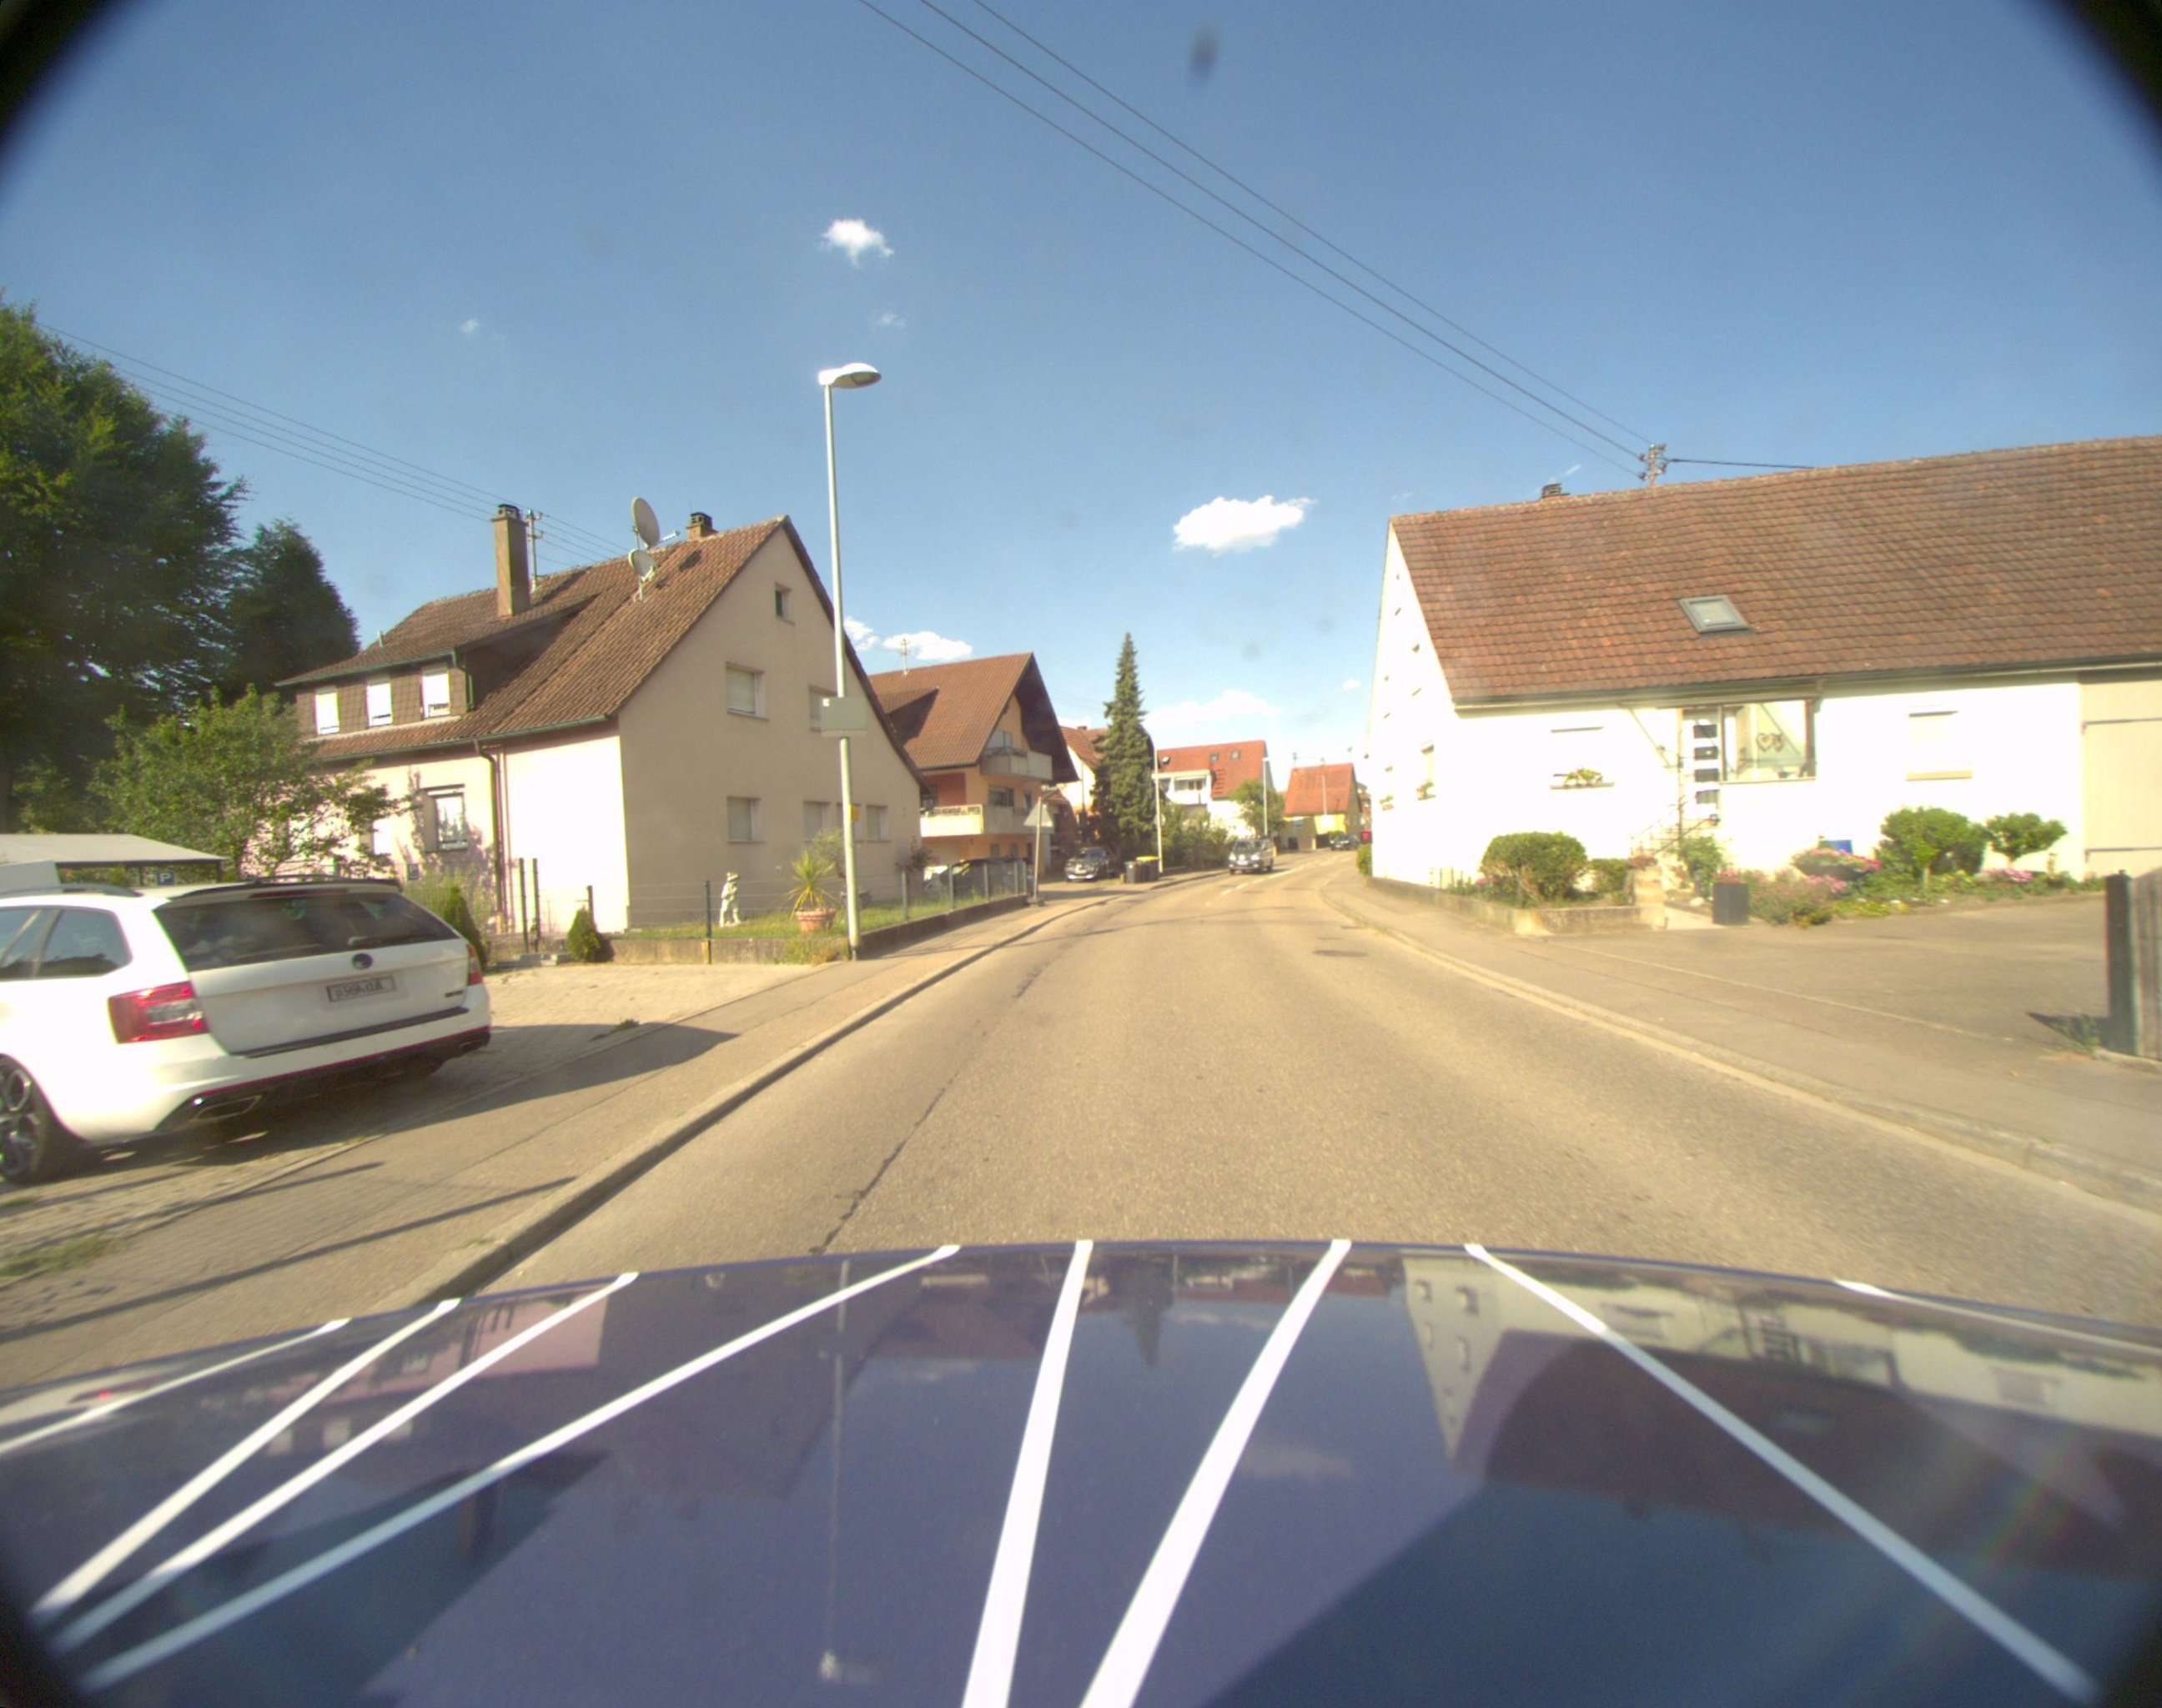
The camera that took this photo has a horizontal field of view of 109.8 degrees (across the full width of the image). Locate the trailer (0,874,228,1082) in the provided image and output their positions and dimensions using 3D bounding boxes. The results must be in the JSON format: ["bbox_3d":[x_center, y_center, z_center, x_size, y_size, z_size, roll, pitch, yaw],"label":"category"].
[{"bbox_3d":[-10.084,1.112,6.568,1.522,1.741,3.222,-2,0,20],"label":"trailer"}]

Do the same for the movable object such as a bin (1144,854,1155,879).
[{"bbox_3d":[3.080,0.581,34.293,0.382,1.102,0.375,-3,0,20],"label":"movable object such as a bin"}]

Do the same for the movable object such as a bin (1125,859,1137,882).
[{"bbox_3d":[2.131,0.709,32.516,0.391,0.975,0.351,-3,0,20],"label":"movable object such as a bin"}]

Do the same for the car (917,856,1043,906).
[{"bbox_3d":[-3.193,0.849,23.981,3.691,1.426,1.439,-3,0,24],"label":"car"}]

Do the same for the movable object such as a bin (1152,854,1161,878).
[{"bbox_3d":[3.515,0.546,35.388,0.294,1.102,0.387,-3,0,20],"label":"movable object such as a bin"}]

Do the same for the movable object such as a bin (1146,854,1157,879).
[{"bbox_3d":[3.220,0.577,34.716,0.335,1.102,0.440,-3,0,20],"label":"movable object such as a bin"}]

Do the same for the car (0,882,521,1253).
[{"bbox_3d":[-5.982,1.020,4.640,4.470,1.450,1.733,-3,1,17],"label":"car"}]

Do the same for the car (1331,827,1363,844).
[{"bbox_3d":[26.739,-1.803,76.220,1.968,1.647,4.008,0,1,35],"label":"car"}]

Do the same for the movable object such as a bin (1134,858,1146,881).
[{"bbox_3d":[2.605,0.679,33.420,0.391,0.975,0.351,-3,0,20],"label":"movable object such as a bin"}]

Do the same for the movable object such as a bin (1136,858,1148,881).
[{"bbox_3d":[2.704,0.684,33.793,0.391,0.975,0.351,-3,0,20],"label":"movable object such as a bin"}]

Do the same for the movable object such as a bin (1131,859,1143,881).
[{"bbox_3d":[2.446,0.696,33.075,0.391,0.975,0.351,-3,0,20],"label":"movable object such as a bin"}]

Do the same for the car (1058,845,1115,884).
[{"bbox_3d":[0.329,0.441,34.523,1.645,1.508,3.804,-3,1,14],"label":"car"}]

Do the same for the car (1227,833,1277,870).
[{"bbox_3d":[9.998,-0.150,44.164,1.817,1.988,4.829,-3,-1,24],"label":"car"}]

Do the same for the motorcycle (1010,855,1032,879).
[{"bbox_3d":[-2.968,0.627,37.620,0.375,1.141,1.648,-3,0,21],"label":"motorcycle"}]
